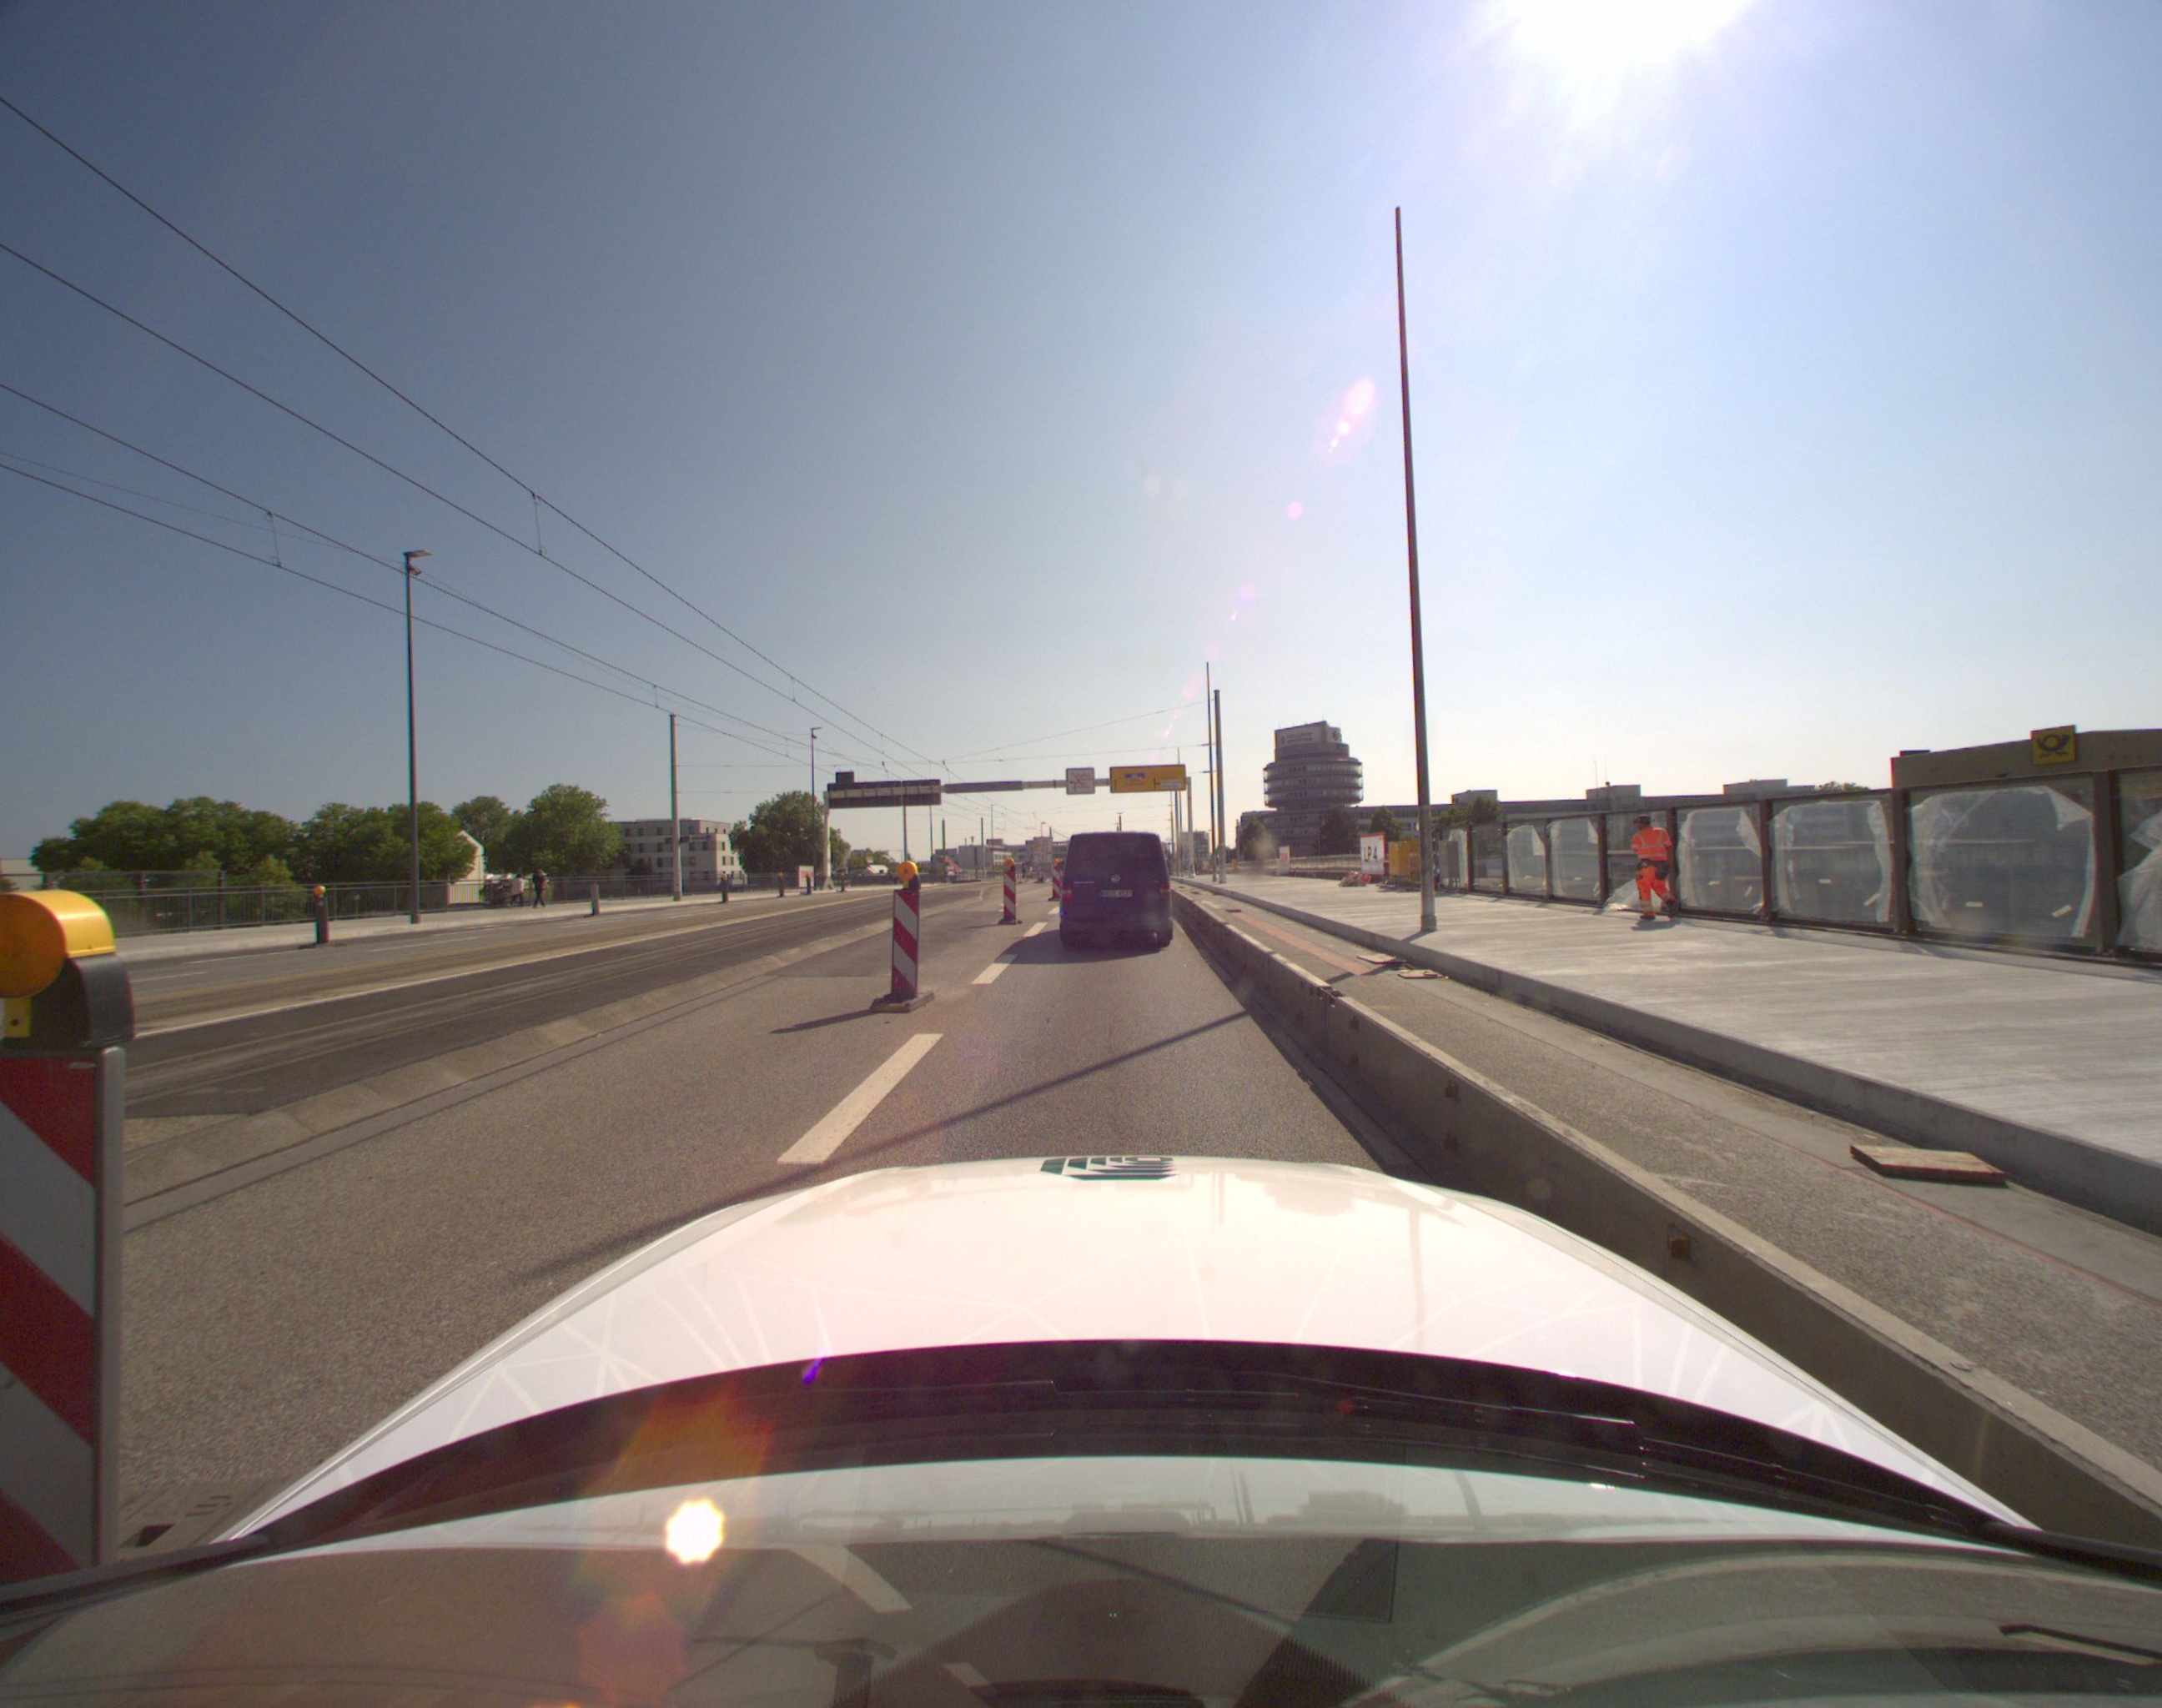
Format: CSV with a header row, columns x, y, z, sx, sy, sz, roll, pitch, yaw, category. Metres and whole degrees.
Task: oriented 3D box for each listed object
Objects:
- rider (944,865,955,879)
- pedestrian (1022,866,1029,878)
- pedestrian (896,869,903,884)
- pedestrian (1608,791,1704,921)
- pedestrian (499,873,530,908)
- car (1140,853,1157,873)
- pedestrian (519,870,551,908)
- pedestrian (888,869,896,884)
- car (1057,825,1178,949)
x,y,z,sx,sy,sz,roll,pitch,yaw,category
-17.551,2.404,108.752,0.760,1.733,2.952,-1,-1,2,rider
-7.385,2.432,108.867,0.655,1.654,0.742,-2,-2,16,pedestrian
-20.596,2.553,92.243,0.483,1.687,0.809,-2,-1,6,pedestrian
9.210,0.036,13.092,0.728,1.965,1.017,-3,-1,2,pedestrian
-25.078,1.610,36.055,0.717,1.544,0.889,1,-1,2,pedestrian
10.023,1.342,120.686,2.328,2.887,5.977,-1,-1,5,car
-24.151,1.544,36.046,0.741,1.642,0.895,1,-1,2,pedestrian
-21.398,2.569,92.020,0.594,1.687,0.819,-2,-1,6,pedestrian
0.639,0.546,14.725,1.880,1.934,4.002,0,-1,2,car
